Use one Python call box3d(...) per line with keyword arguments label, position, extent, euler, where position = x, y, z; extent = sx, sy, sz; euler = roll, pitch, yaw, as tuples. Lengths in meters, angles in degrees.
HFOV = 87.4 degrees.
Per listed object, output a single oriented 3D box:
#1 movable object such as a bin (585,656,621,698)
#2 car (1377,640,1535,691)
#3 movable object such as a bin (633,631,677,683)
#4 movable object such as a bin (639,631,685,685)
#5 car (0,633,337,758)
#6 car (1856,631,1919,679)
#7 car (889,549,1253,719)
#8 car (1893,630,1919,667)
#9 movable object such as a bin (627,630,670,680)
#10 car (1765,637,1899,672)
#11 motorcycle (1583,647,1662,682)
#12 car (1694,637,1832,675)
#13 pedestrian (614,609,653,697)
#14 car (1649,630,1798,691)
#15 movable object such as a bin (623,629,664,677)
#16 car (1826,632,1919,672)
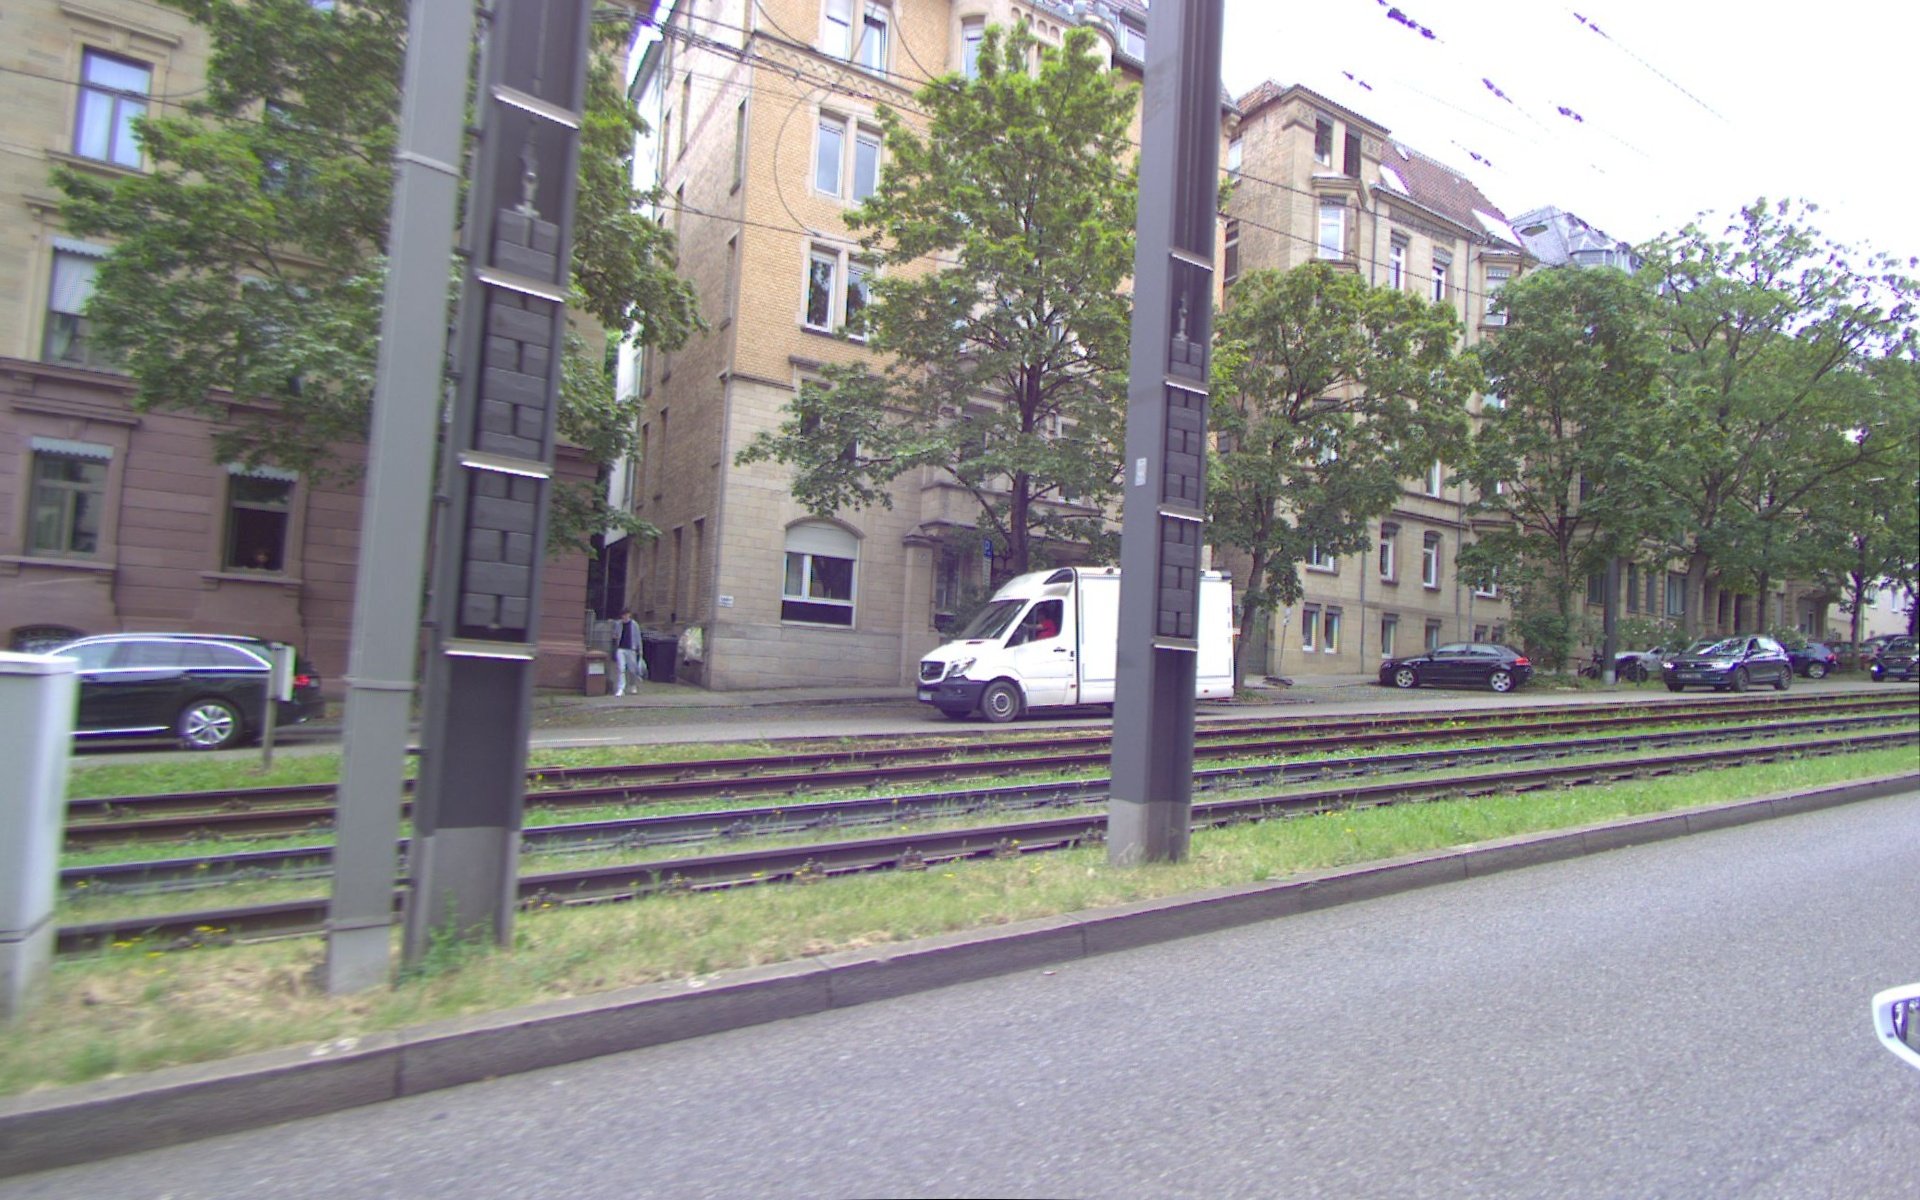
box3d(label="movable object such as a bin", position=(-7.520, 1.618, 21.150), extent=(0.621, 0.847, 0.580), euler=(1, -2, -30))
box3d(label="car", position=(14.750, 1.906, 29.916), extent=(4.110, 1.382, 1.709), euler=(-1, -2, 31))
box3d(label="movable object such as a bin", position=(-7.626, 1.405, 25.093), extent=(0.905, 1.264, 0.889), euler=(1, -2, -27))
box3d(label="movable object such as a bin", position=(-7.200, 1.395, 24.243), extent=(0.905, 1.264, 0.889), euler=(1, -2, -27))
box3d(label="car", position=(-10.834, 1.165, 12.803), extent=(4.684, 1.447, 1.744), euler=(1, -3, -25))
box3d(label="car", position=(35.088, 2.037, 37.072), extent=(4.193, 1.678, 1.772), euler=(2, -4, -31))
box3d(label="car", position=(2.109, 0.676, 18.684), extent=(6.430, 2.734, 2.386), euler=(1, -4, -26))
box3d(label="car", position=(50.624, 2.486, 51.255), extent=(4.120, 1.860, 1.867), euler=(-1, -2, 33))
box3d(label="movable object such as a bin", position=(-8.041, 1.404, 25.921), extent=(0.905, 1.264, 0.889), euler=(1, -2, -27))
box3d(label="car", position=(38.035, 2.367, 43.938), extent=(4.117, 1.454, 1.868), euler=(-1, -2, 31))
box3d(label="motorcycle", position=(22.315, 2.155, 33.872), extent=(2.164, 1.072, 0.625), euler=(1, -1, 26))
box3d(label="car", position=(32.759, 2.318, 41.108), extent=(4.079, 1.488, 1.784), euler=(-2, -4, 28))
box3d(label="pedestrian", position=(-7.014, 1.136, 21.579), extent=(0.624, 1.836, 0.772), euler=(1, -2, -31))
box3d(label="car", position=(22.224, 1.743, 29.217), extent=(4.418, 1.671, 1.872), euler=(1, -4, -31))
box3d(label="movable object such as a bin", position=(-8.446, 1.404, 26.804), extent=(0.905, 1.264, 0.889), euler=(1, -2, -27))
box3d(label="car", position=(43.451, 2.419, 46.983), extent=(4.117, 1.791, 1.868), euler=(-1, -2, 31))
